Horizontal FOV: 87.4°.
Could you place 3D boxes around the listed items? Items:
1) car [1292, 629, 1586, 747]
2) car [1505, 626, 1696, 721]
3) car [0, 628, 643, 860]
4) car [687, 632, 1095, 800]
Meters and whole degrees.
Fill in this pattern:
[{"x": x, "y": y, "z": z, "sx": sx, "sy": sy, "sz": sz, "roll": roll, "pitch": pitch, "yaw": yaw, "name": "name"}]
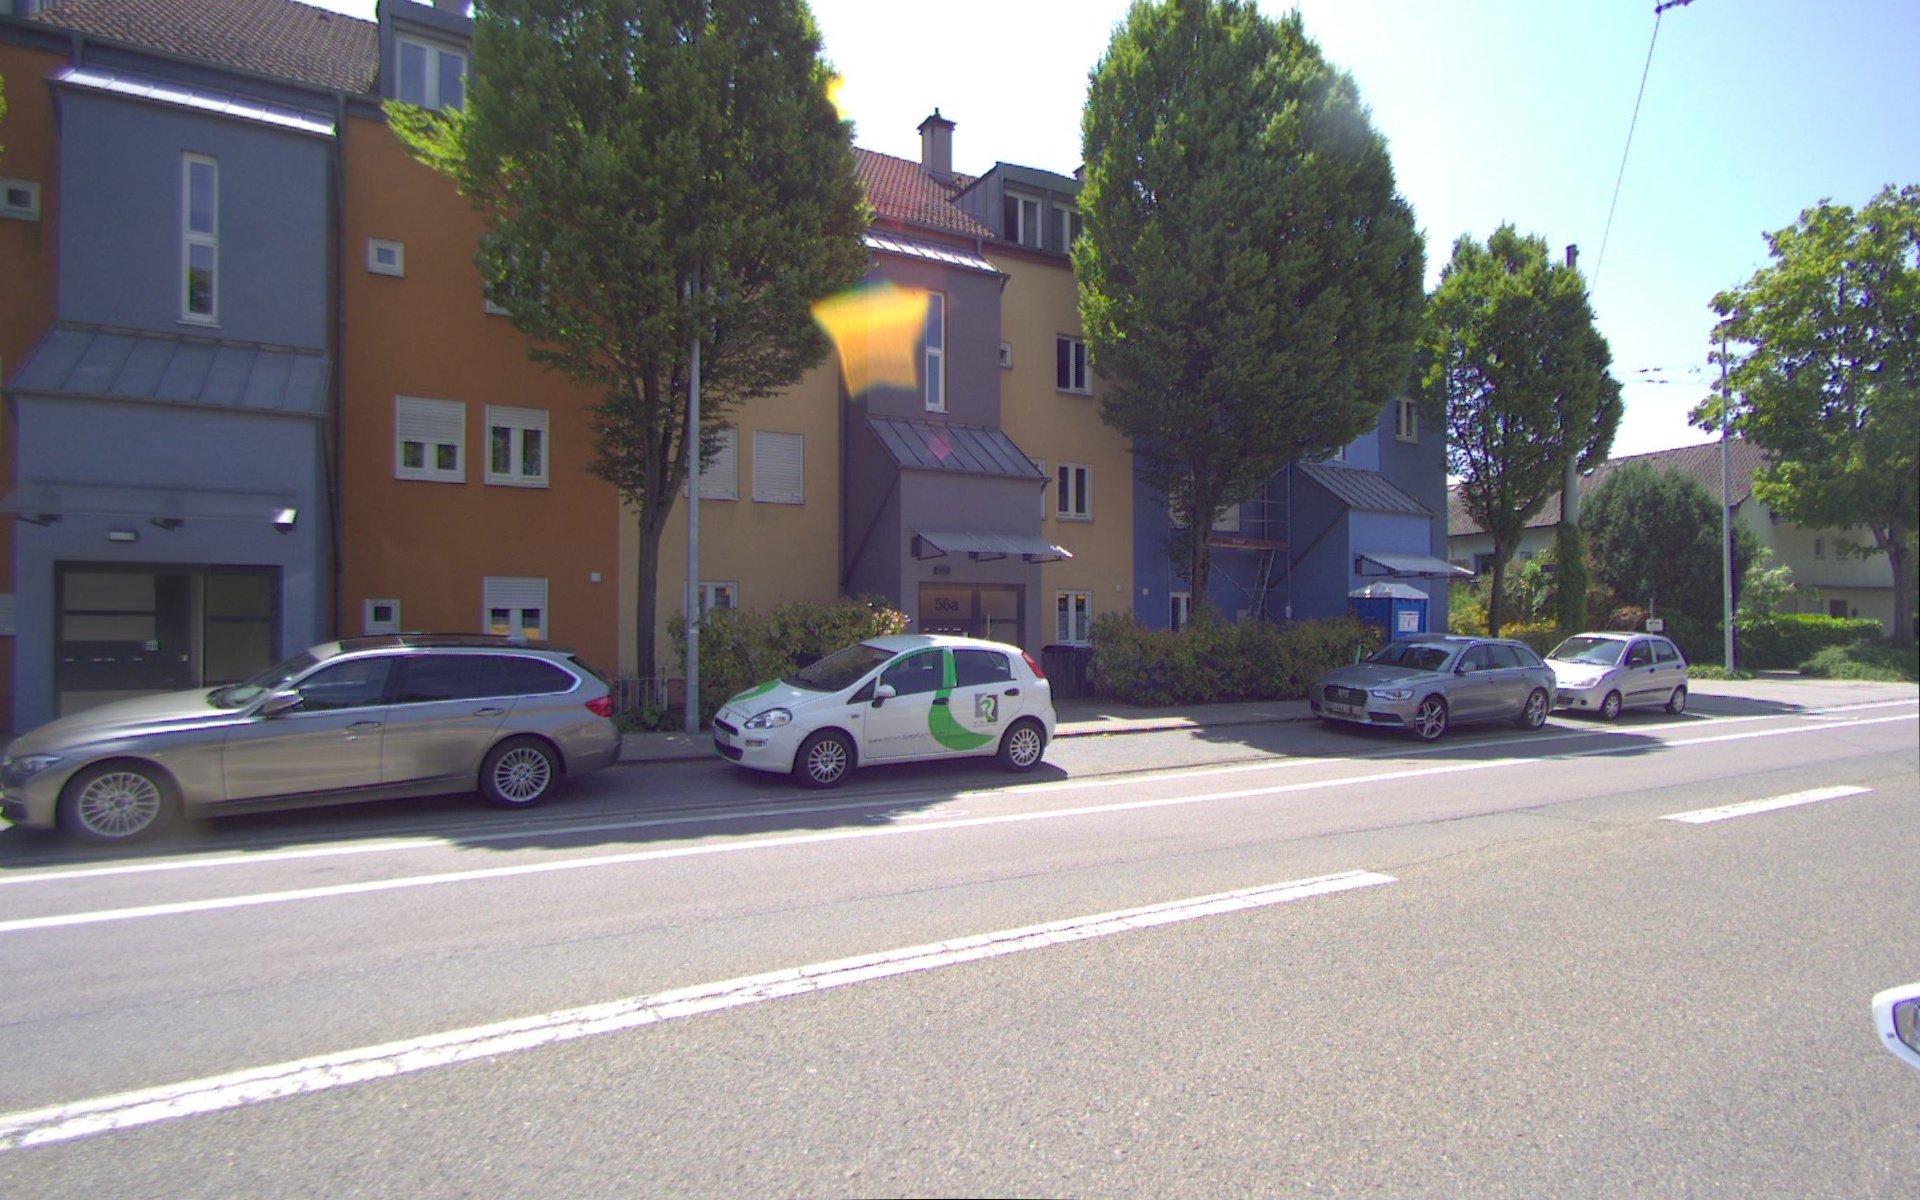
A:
[{"x": 7.823, "y": 1.297, "z": 16.250, "sx": 5.074, "sy": 1.470, "sz": 1.777, "roll": 0, "pitch": 3, "yaw": -31, "name": "car"}, {"x": 12.094, "y": 1.322, "z": 18.959, "sx": 3.407, "sy": 1.516, "sz": 1.585, "roll": 1, "pitch": 3, "yaw": -30, "name": "car"}, {"x": -5.411, "y": 1.061, "z": 8.873, "sx": 4.701, "sy": 1.449, "sz": 1.693, "roll": 1, "pitch": 3, "yaw": -34, "name": "car"}, {"x": -0.730, "y": 1.183, "z": 11.578, "sx": 4.368, "sy": 1.462, "sz": 1.737, "roll": 1, "pitch": 3, "yaw": -31, "name": "car"}]
